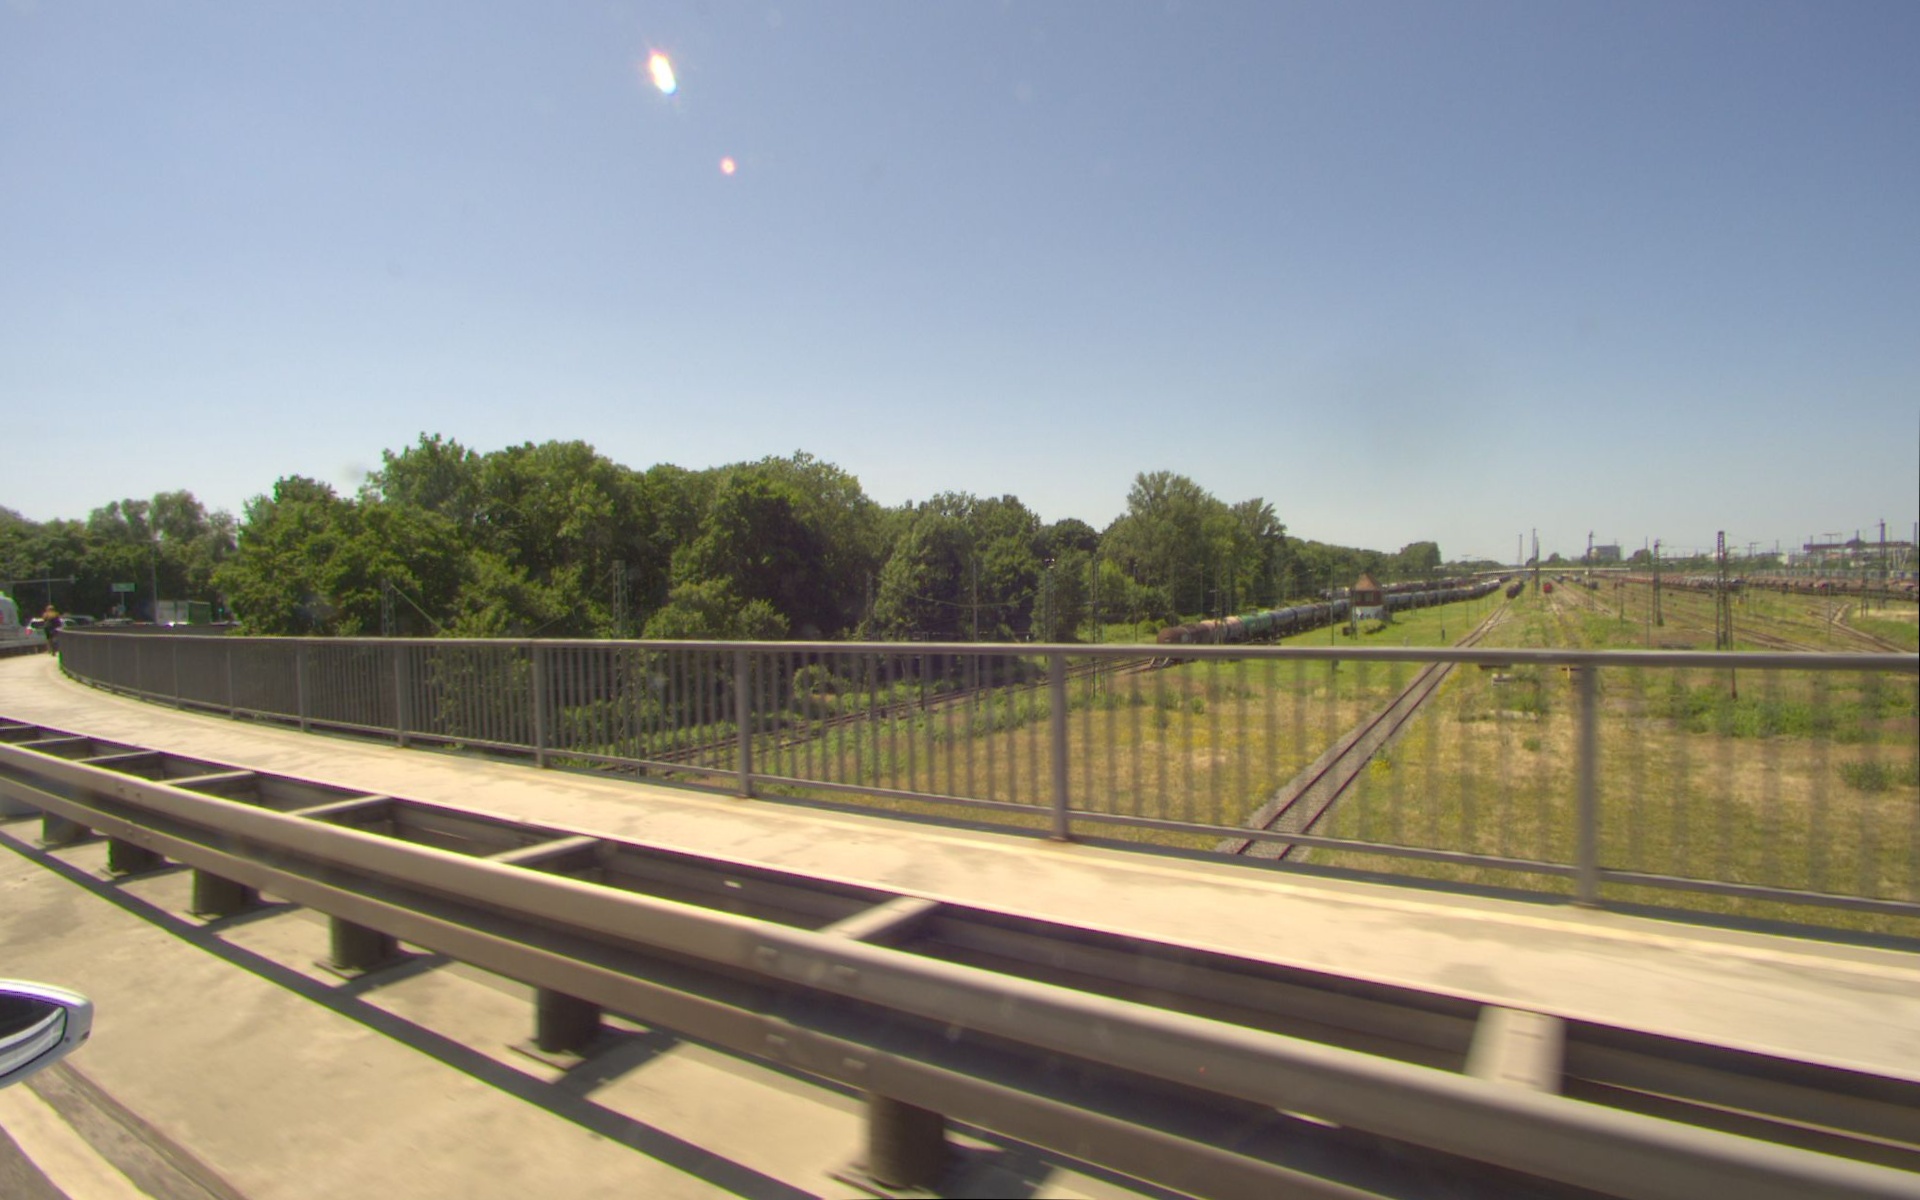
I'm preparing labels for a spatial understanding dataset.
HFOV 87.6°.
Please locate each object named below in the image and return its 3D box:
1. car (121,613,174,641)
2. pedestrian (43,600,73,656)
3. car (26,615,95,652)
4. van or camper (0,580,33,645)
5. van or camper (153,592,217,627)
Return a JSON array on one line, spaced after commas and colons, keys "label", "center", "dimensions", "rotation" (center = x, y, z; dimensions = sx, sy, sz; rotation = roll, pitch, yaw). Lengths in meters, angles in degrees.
[{"label": "car", "center": [-55.705, 1.845, 68.721], "dimensions": [1.864, 1.873, 3.988], "rotation": [0, -2, -24]}, {"label": "pedestrian", "center": [-32.656, 1.021, 36.255], "dimensions": [0.730, 1.992, 0.729], "rotation": [0, -1, -36]}, {"label": "car", "center": [-47.480, 1.788, 52.943], "dimensions": [1.867, 1.873, 3.981], "rotation": [0, -2, -29]}, {"label": "van or camper", "center": [-42.677, 0.537, 43.766], "dimensions": [2.180, 2.746, 5.889], "rotation": [0, -1, -33]}, {"label": "van or camper", "center": [-64.031, 0.845, 82.858], "dimensions": [2.450, 2.318, 4.957], "rotation": [5, -6, -17]}]
